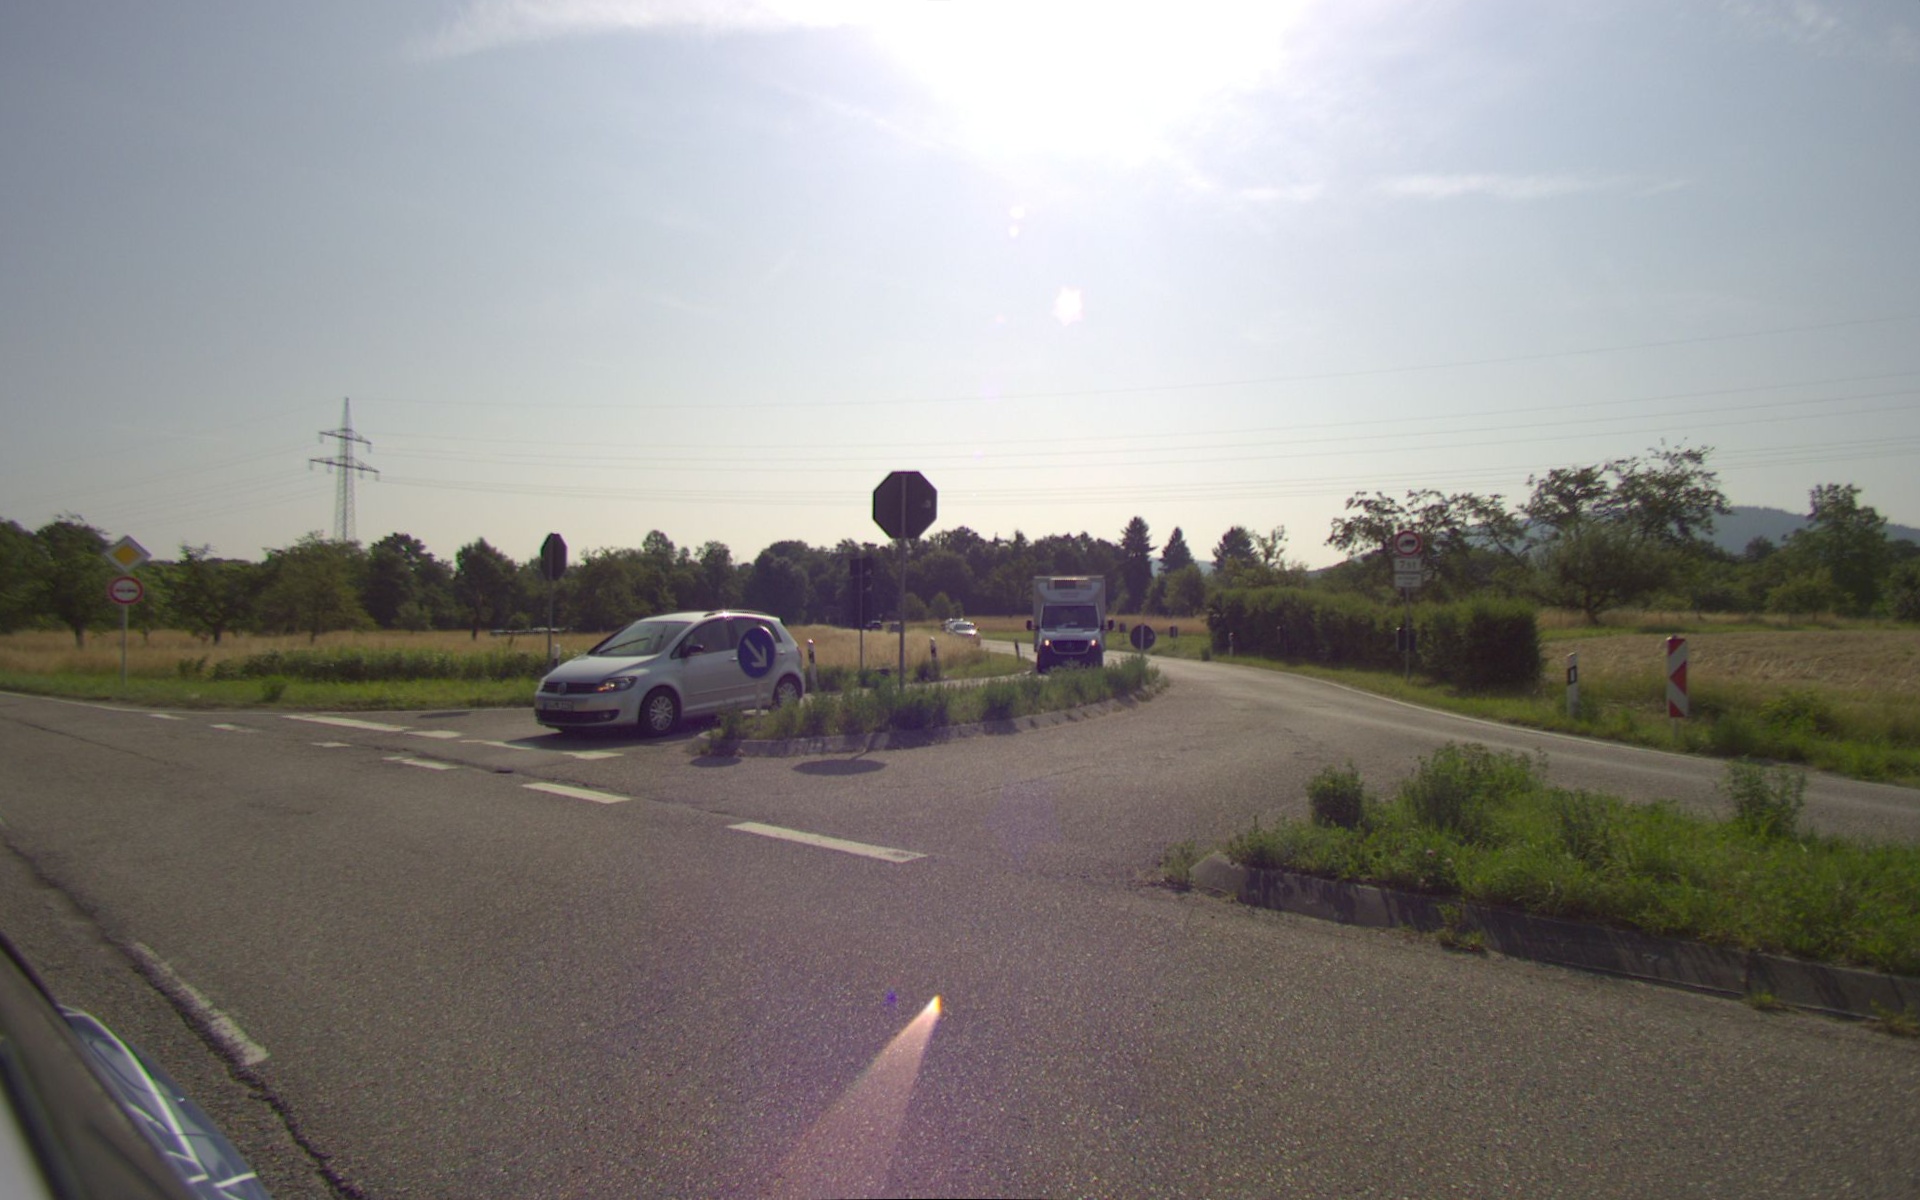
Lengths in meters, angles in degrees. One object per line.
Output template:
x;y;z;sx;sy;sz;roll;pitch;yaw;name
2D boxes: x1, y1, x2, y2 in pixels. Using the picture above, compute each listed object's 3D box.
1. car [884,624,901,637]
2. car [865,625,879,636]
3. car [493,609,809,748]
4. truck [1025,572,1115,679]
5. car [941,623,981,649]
-8.807;3.951;131.960;1.788;1.564;4.009;-1;-1;-11;car
-13.532;4.624;155.806;1.788;1.564;4.009;-1;-1;-11;car
-4.030;0.939;13.813;1.991;1.592;3.871;-1;-1;28;car
3.483;0.789;33.100;2.551;3.068;7.354;-1;-1;4;truck
0.048;2.301;64.798;1.788;1.564;4.009;-1;-1;-11;car
